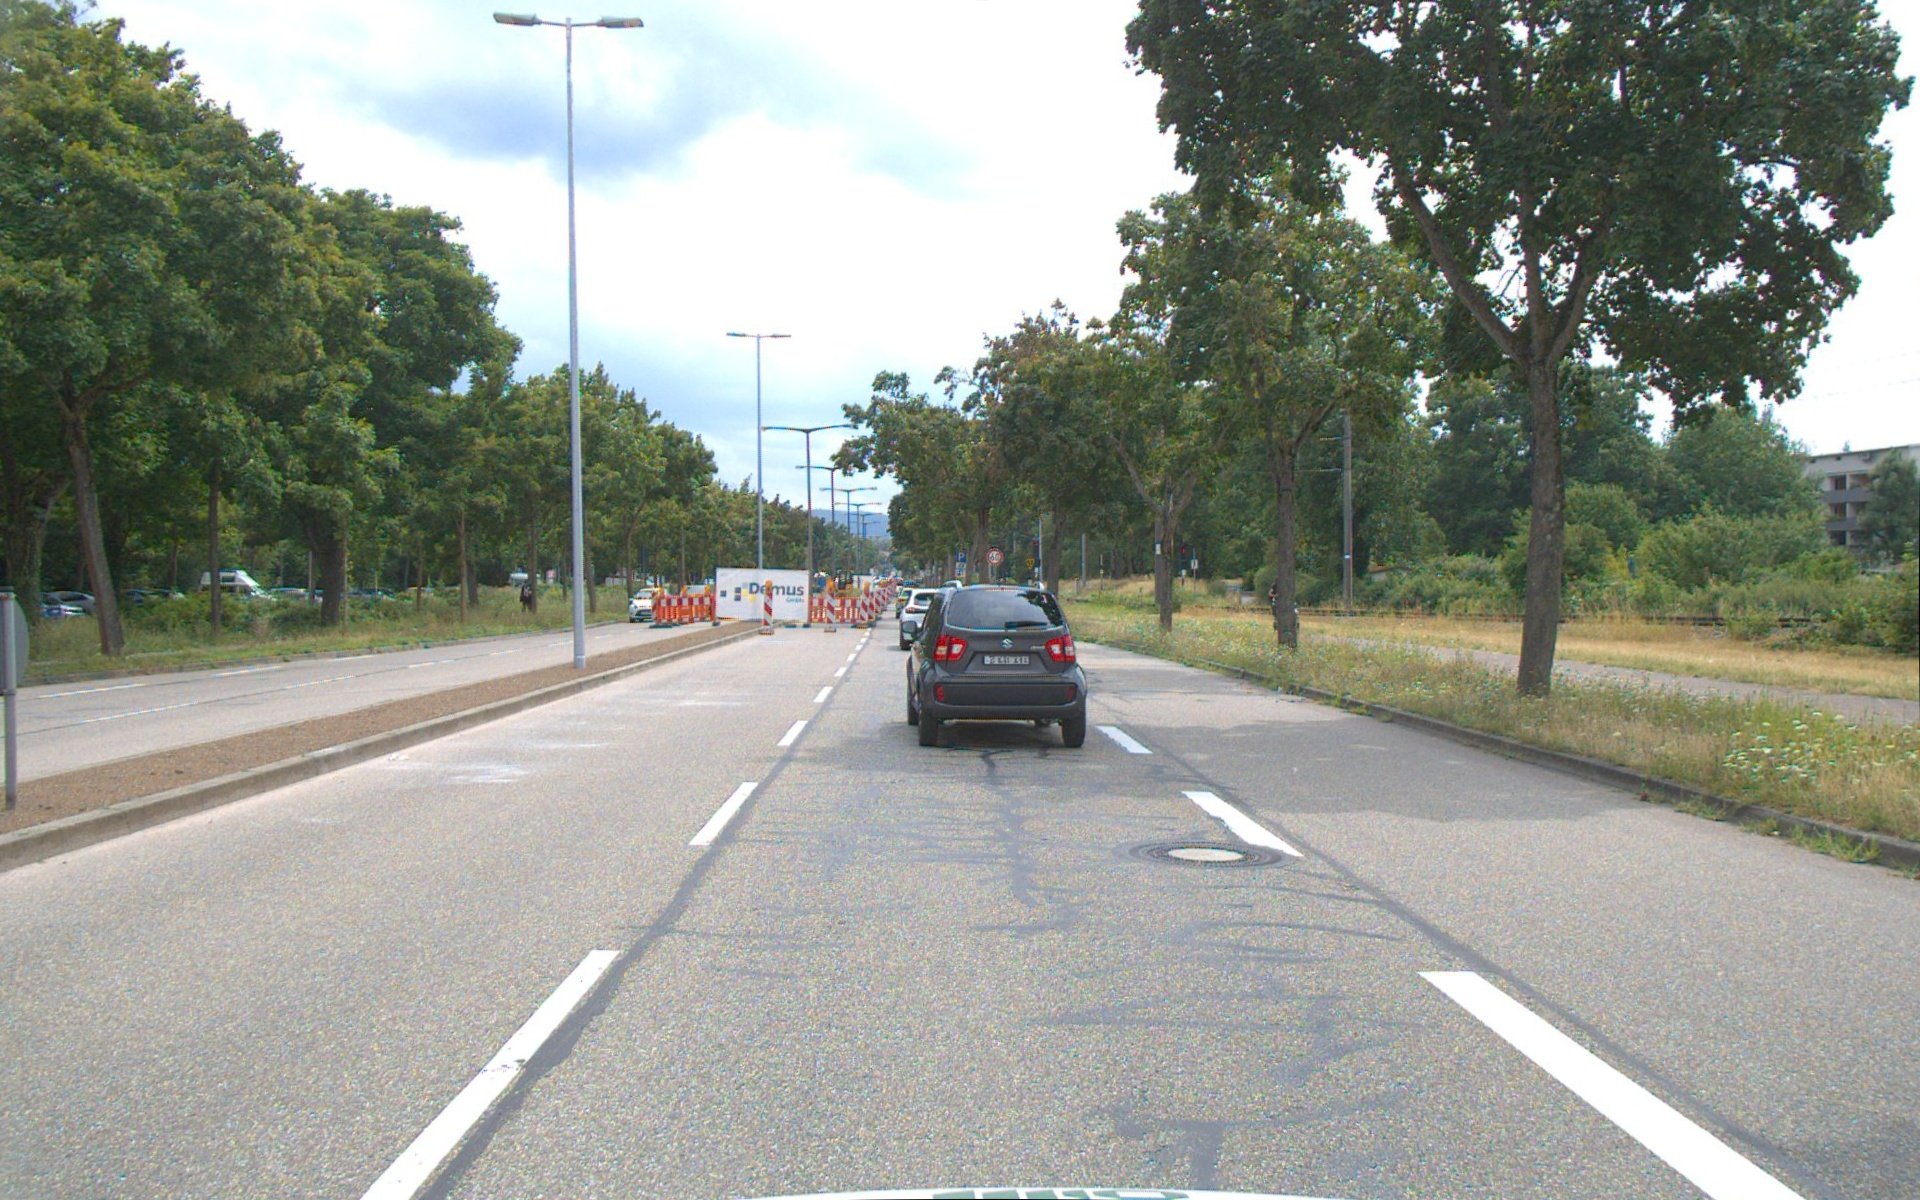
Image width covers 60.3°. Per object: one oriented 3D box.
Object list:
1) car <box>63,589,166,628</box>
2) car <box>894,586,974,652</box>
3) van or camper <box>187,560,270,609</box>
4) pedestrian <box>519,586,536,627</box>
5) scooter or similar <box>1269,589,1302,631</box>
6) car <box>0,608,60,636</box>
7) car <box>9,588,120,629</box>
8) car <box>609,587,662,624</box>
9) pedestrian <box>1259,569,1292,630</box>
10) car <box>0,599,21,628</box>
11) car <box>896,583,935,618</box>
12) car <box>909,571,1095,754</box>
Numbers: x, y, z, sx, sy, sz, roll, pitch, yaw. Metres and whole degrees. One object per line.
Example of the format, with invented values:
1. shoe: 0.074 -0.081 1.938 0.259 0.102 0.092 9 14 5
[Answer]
1. car: -40.600 0.412 79.502 3.905 1.814 2.000 0 1 0
2. car: -0.689 0.418 40.720 1.732 1.489 3.997 0 1 -5
3. van or camper: -42.006 -0.905 95.026 3.906 2.804 1.926 0 1 -2
4. pedestrian: -20.141 0.312 76.996 0.681 1.870 0.647 -1 1 -23
5. scooter or similar: 9.114 0.280 46.303 0.668 1.149 0.933 0 1 -6
6. car: -40.088 0.926 69.931 3.298 1.113 1.441 0 1 0
7. car: -40.428 0.375 74.766 3.905 1.814 2.000 0 1 0
8. car: -14.352 0.211 73.410 1.656 1.502 3.999 -2 1 -2
9. pedestrian: 9.012 -0.012 47.227 0.677 1.725 0.933 0 1 -6
10. car: -39.650 0.535 66.170 3.298 1.148 1.441 0 1 0
11. car: -2.091 -0.001 79.239 1.757 1.589 4.000 0 1 0
12. car: 0.334 0.553 17.429 1.669 1.697 3.998 0 1 -3
